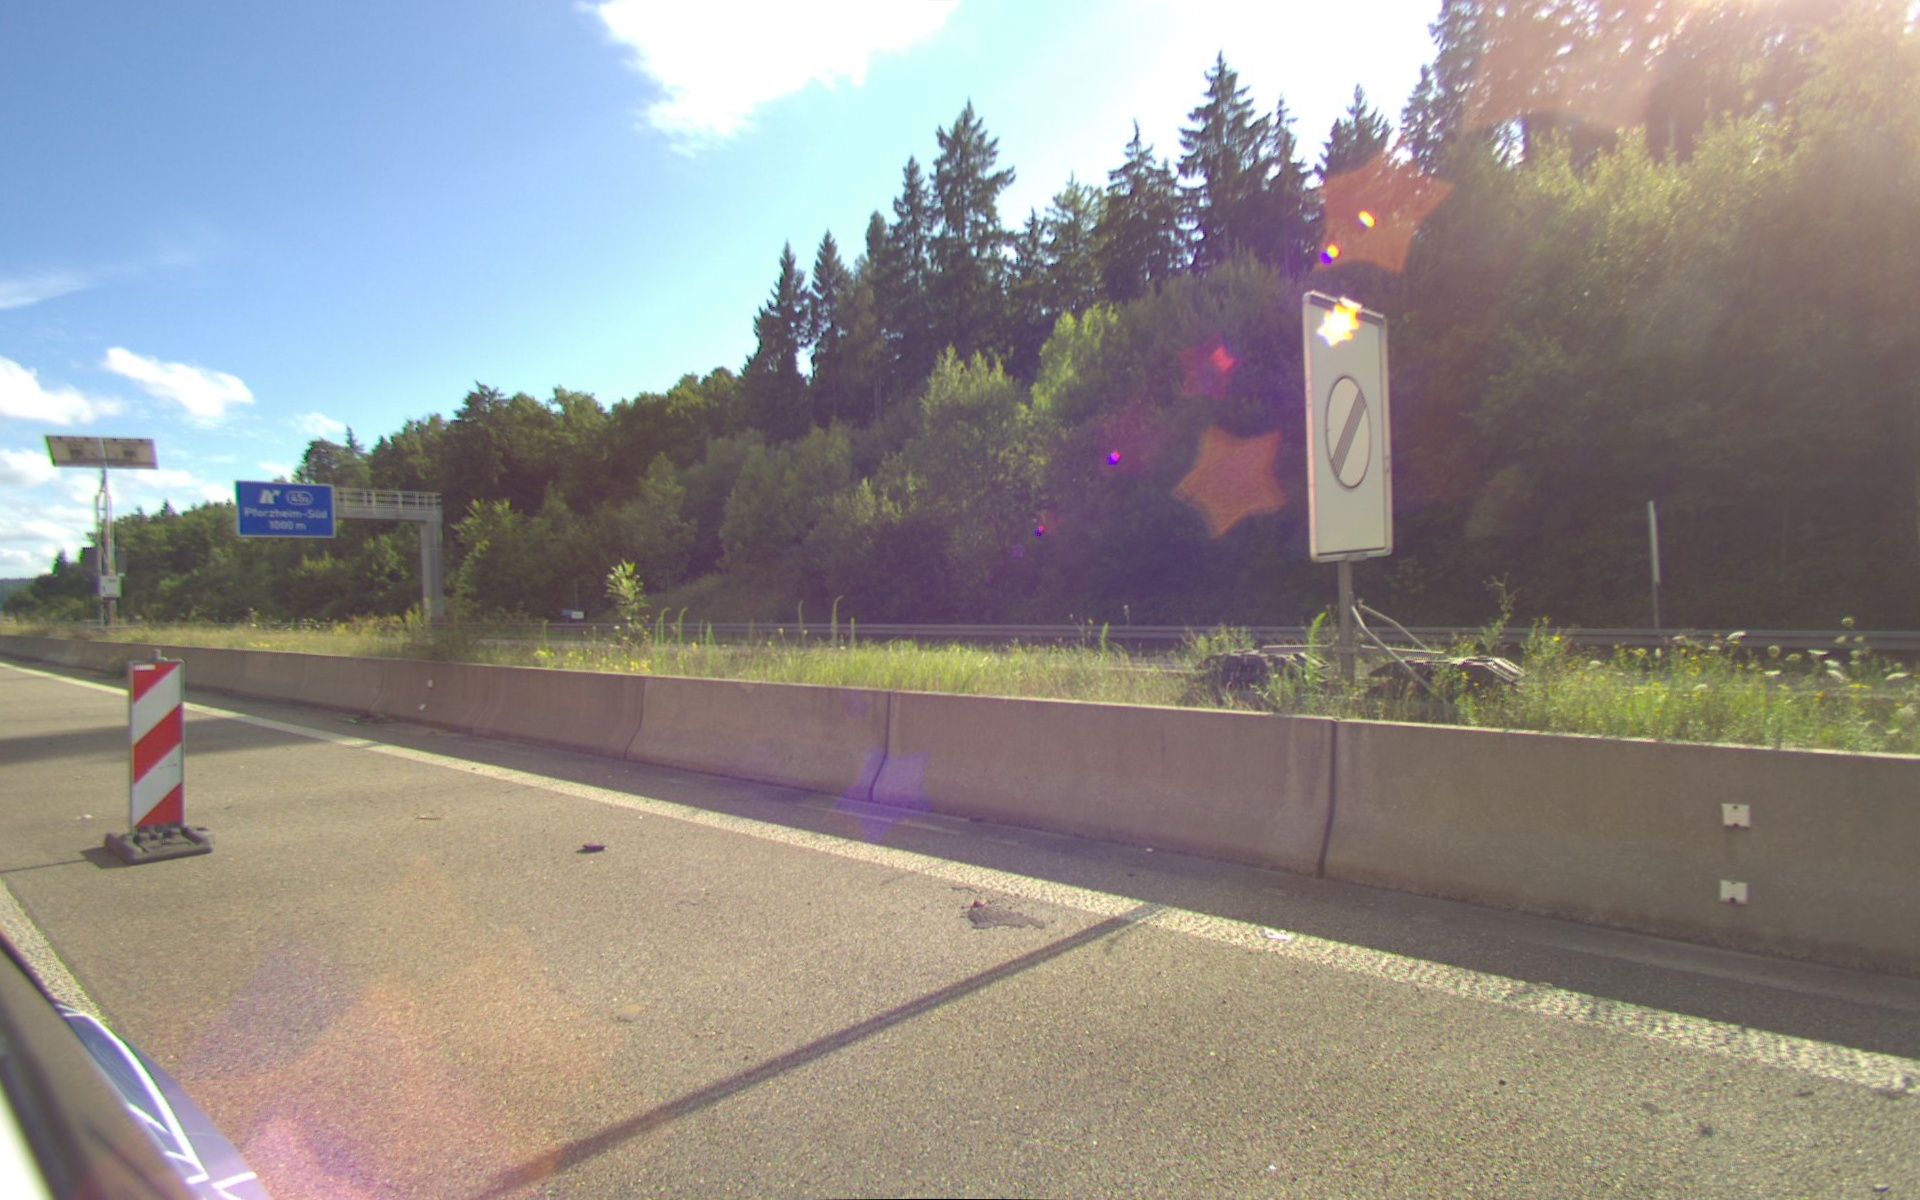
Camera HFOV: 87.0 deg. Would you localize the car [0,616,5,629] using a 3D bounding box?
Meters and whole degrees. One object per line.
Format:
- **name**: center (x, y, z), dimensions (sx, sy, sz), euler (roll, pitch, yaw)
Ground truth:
- **car**: center (-120.778, 2.833, 126.525), dimensions (3.909, 1.593, 1.644), euler (-1, 0, 40)
